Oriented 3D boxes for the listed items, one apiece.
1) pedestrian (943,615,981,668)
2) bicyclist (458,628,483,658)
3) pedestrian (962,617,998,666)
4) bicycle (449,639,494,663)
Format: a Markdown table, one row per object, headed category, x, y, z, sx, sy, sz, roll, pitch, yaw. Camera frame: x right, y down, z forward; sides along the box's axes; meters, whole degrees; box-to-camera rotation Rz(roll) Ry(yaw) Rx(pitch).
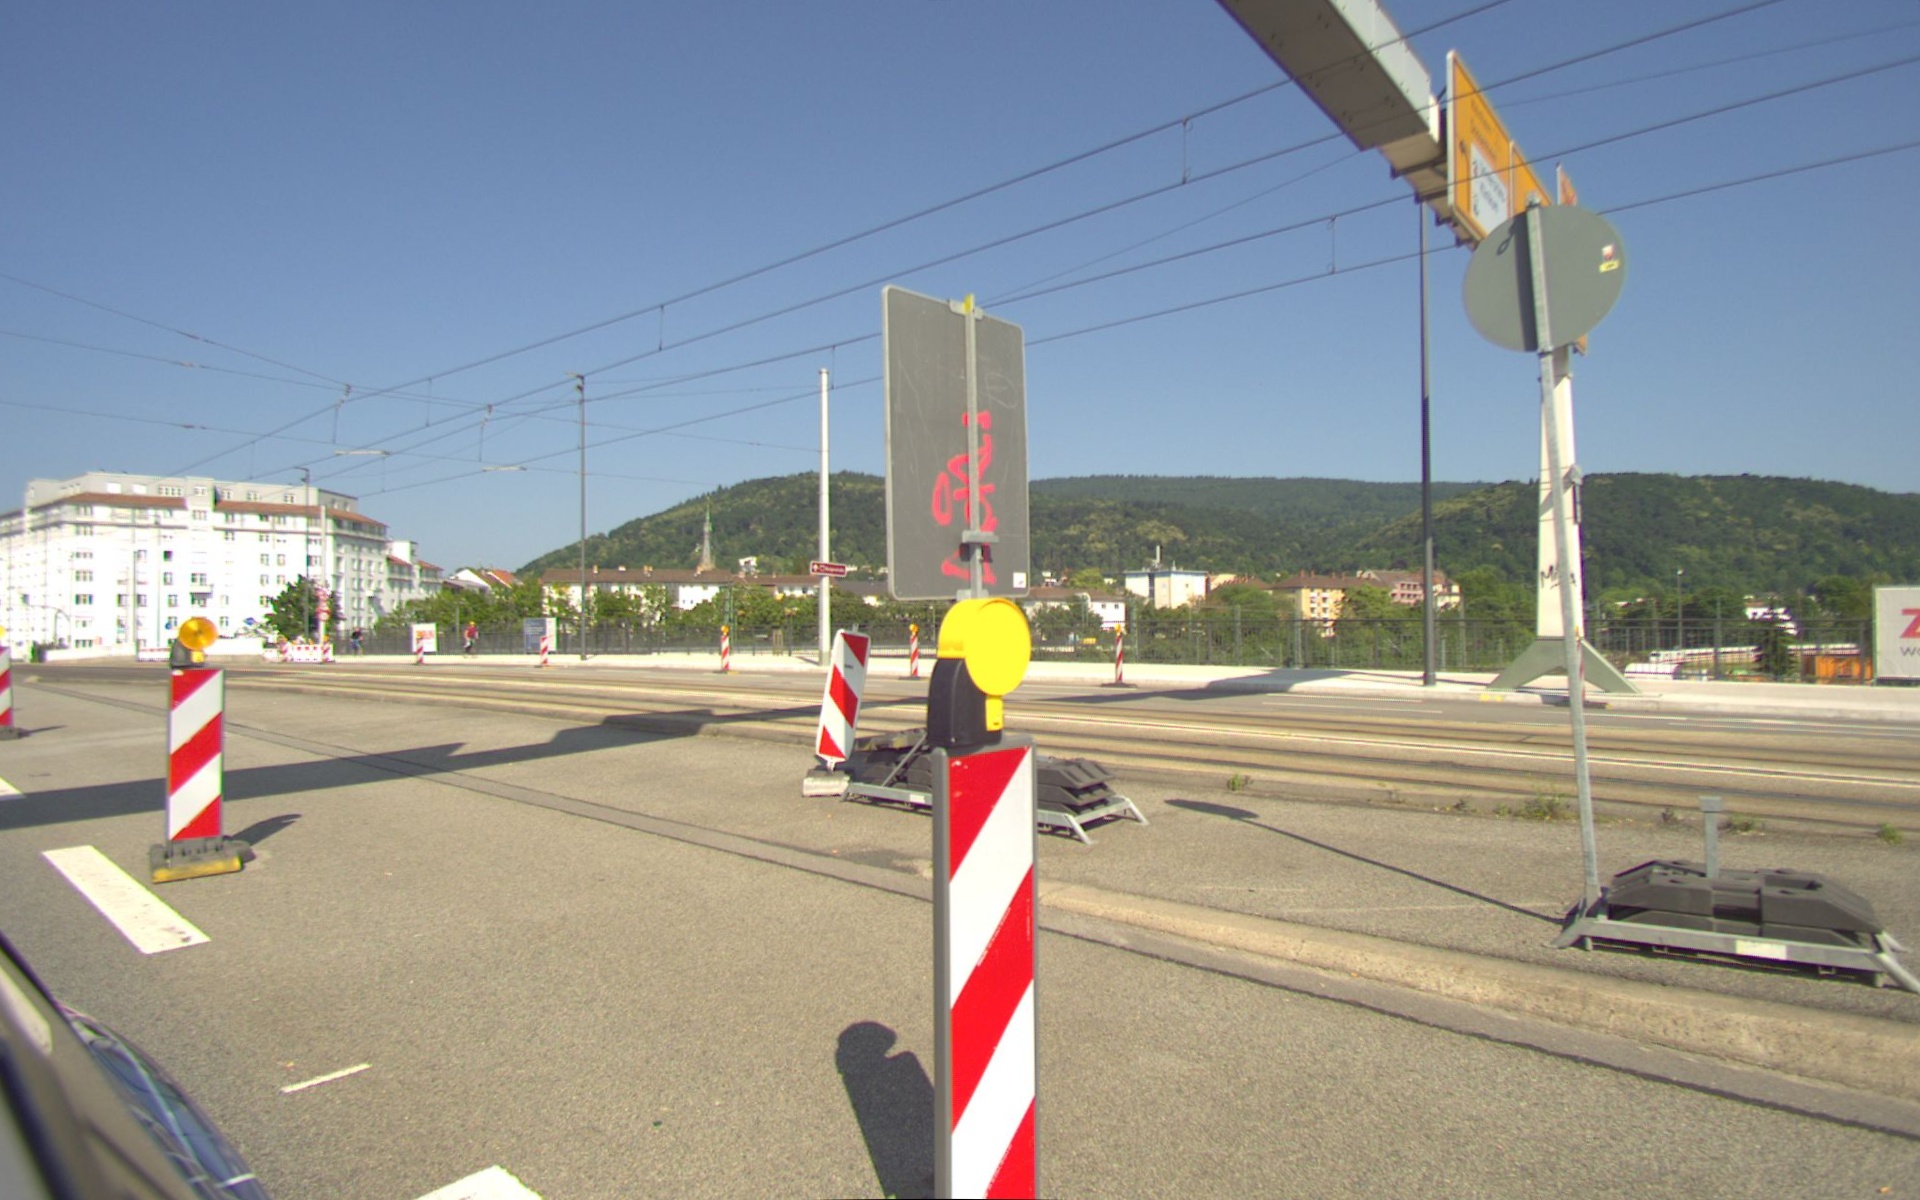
| category | x | y | z | sx | sy | sz | roll | pitch | yaw |
| --- | --- | --- | --- | --- | --- | --- | --- | --- | --- |
| pedestrian | 0.061 | 1.342 | 32.855 | 0.894 | 1.654 | 0.736 | -3 | 0 | 39 |
| bicyclist | -25.530 | 2.229 | 52.788 | 0.816 | 1.530 | 0.847 | -2 | -1 | 39 |
| pedestrian | 0.669 | 1.369 | 33.512 | 0.888 | 1.556 | 0.712 | -3 | 0 | 39 |
| bicycle | -25.485 | 2.666 | 52.752 | 3.068 | 1.204 | 0.847 | -2 | -1 | 39 |
